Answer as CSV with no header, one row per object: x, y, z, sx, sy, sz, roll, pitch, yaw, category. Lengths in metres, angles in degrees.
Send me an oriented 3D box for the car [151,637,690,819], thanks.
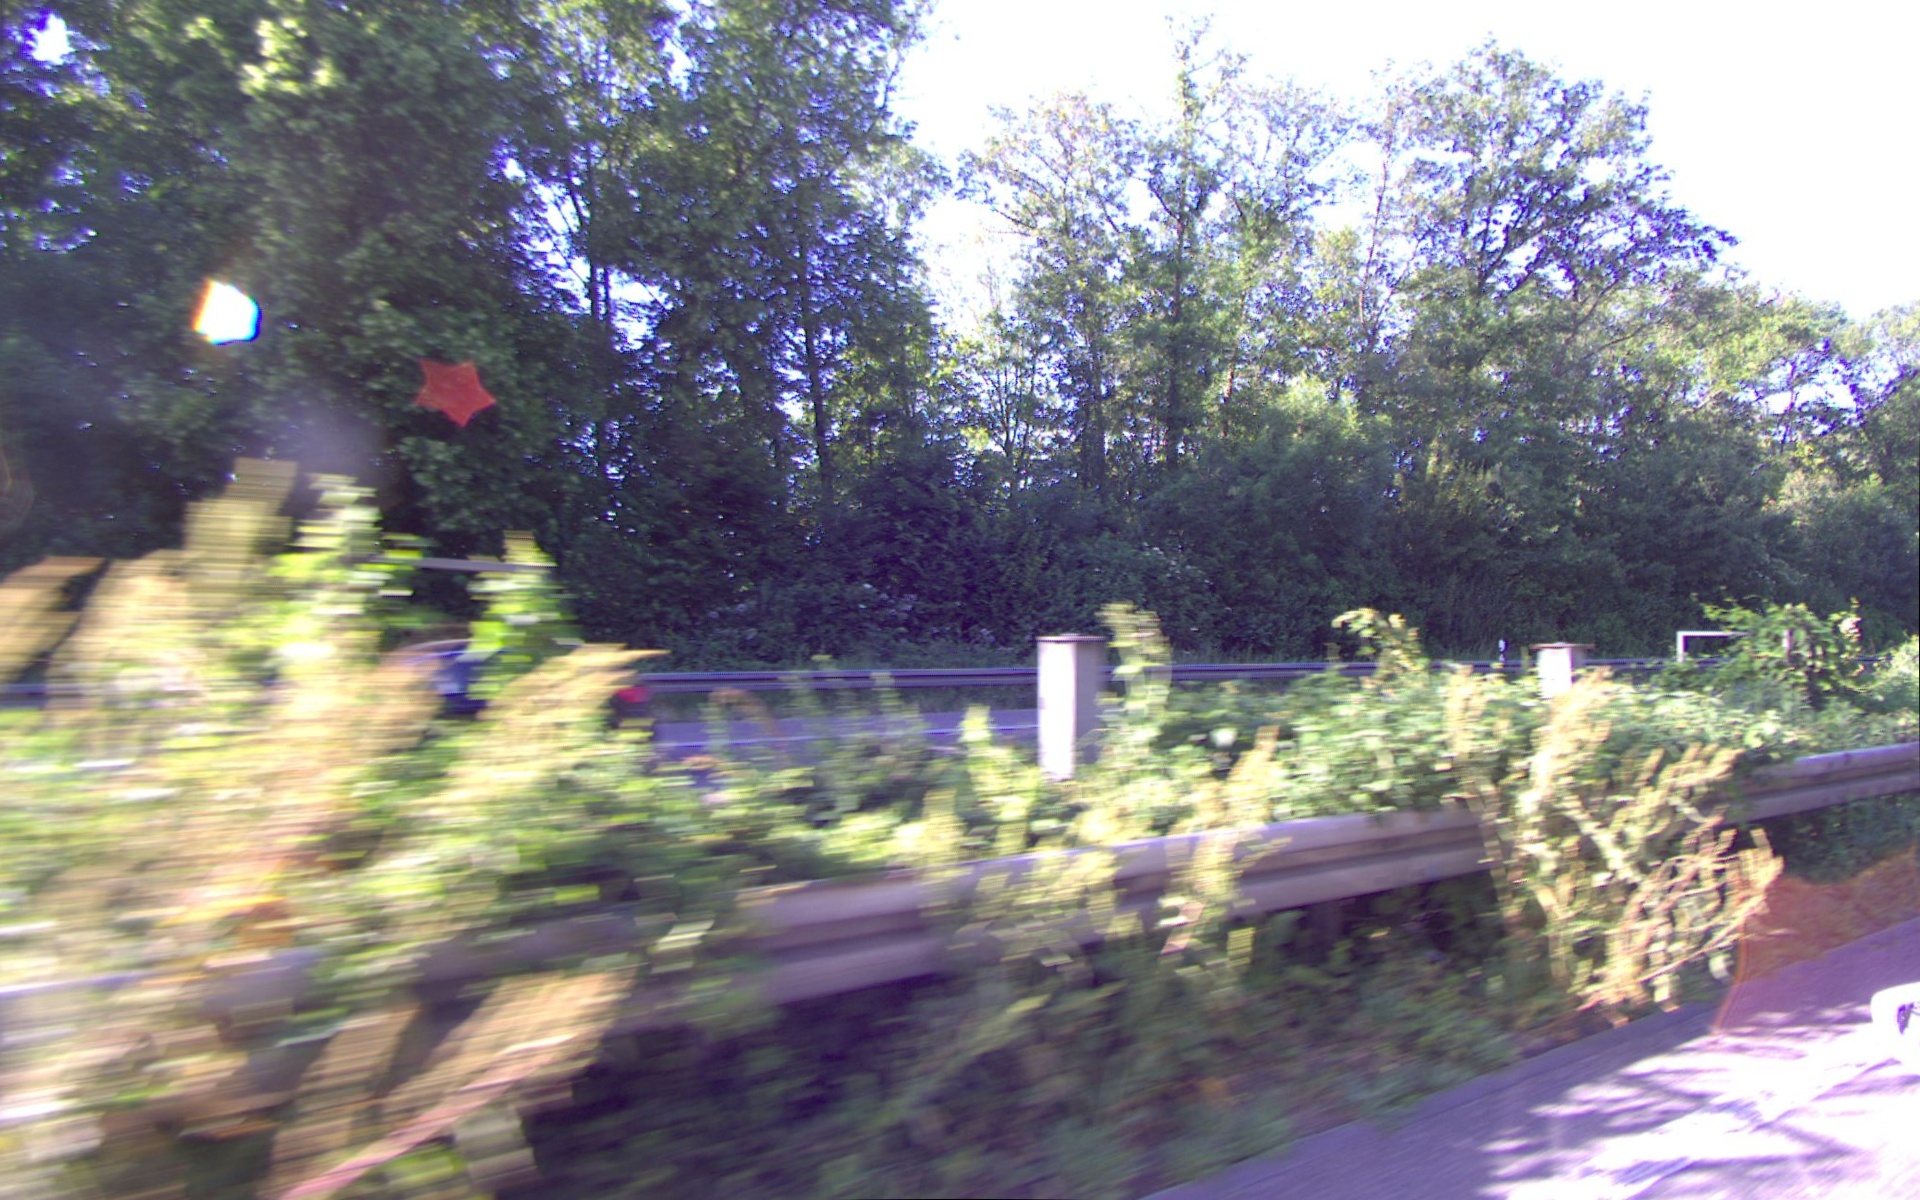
-5.280,1.151,10.353,4.456,1.442,1.984,2,-1,-30,car
